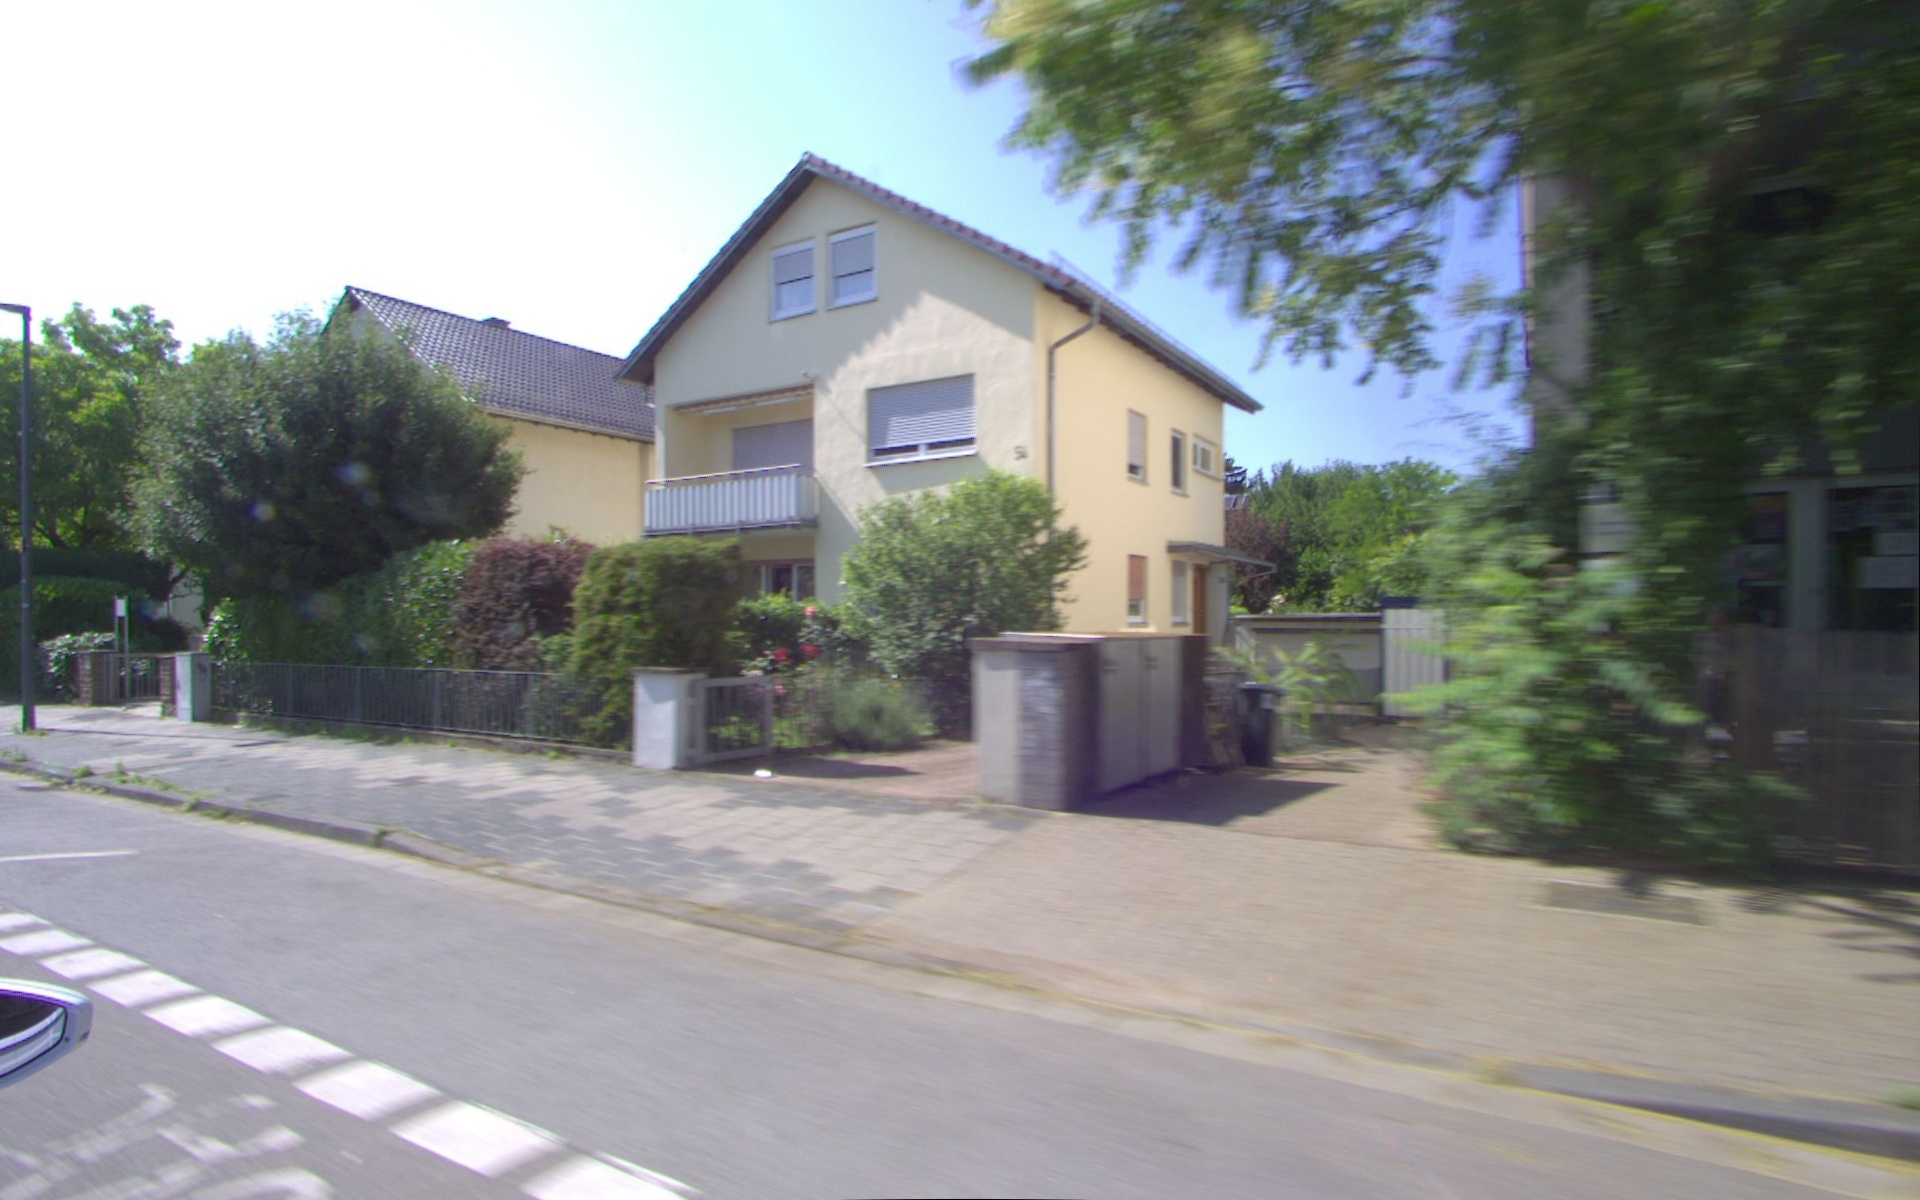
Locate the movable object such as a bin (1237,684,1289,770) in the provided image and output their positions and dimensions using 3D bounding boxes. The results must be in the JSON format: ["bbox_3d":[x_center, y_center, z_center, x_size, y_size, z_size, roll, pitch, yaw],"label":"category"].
[{"bbox_3d":[3.366,1.396,11.120,0.467,0.911,0.354,0,-4,32],"label":"movable object such as a bin"}]
